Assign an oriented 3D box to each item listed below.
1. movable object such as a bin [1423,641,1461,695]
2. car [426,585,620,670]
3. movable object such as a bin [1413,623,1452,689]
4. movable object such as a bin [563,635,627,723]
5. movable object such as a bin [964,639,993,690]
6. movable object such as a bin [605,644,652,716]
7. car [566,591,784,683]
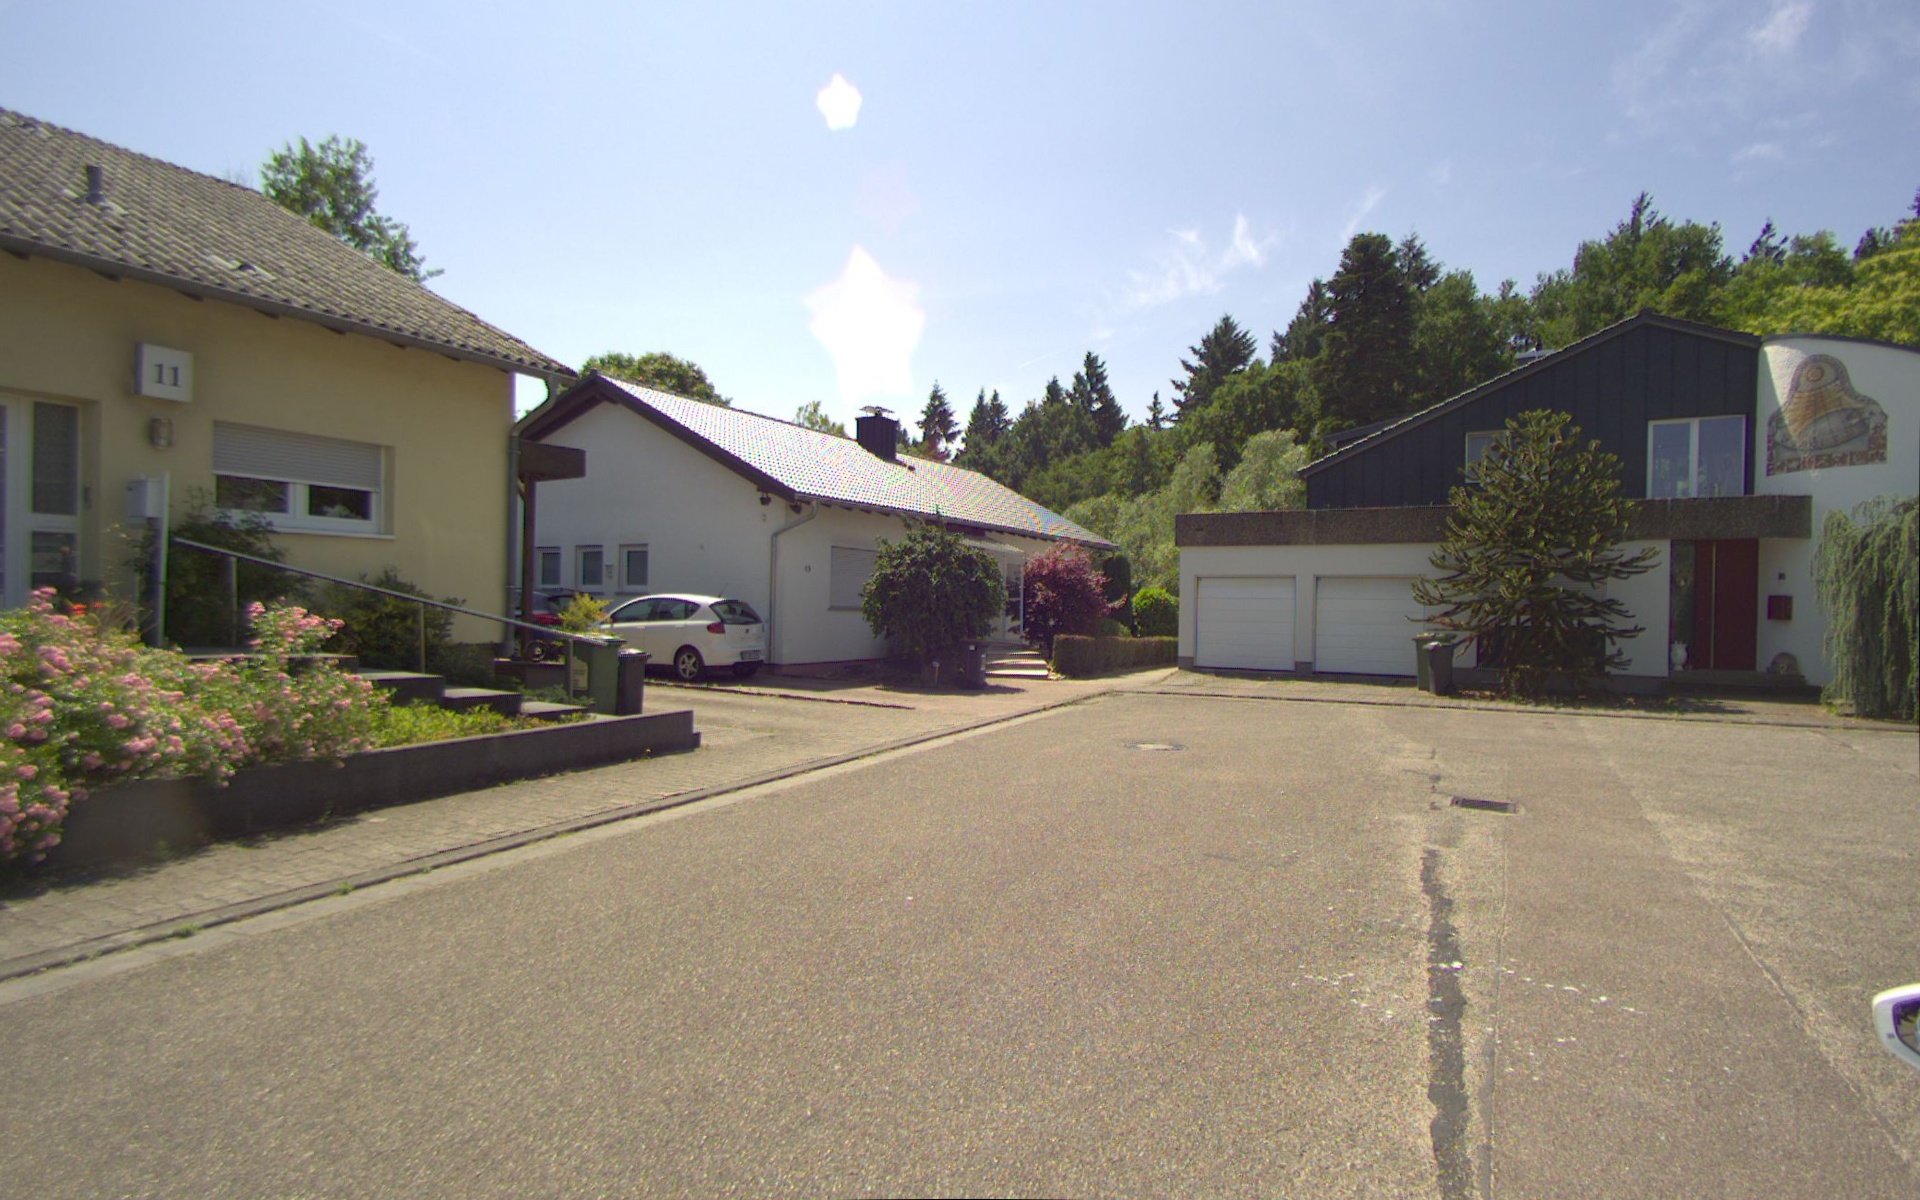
[{"bbox_3d":[8.841,1.236,18.444,0.513,0.962,0.389,1,0,4],"label":"movable object such as a bin"},{"bbox_3d":[-9.511,0.527,21.806,3.929,1.629,1.925,2,1,31],"label":"car"},{"bbox_3d":[9.029,1.058,19.192,0.622,1.219,0.550,1,0,30],"label":"movable object such as a bin"},{"bbox_3d":[-4.624,0.986,12.735,0.482,1.055,0.592,1,0,22],"label":"movable object such as a bin"},{"bbox_3d":[0.340,1.182,18.514,0.383,0.903,0.374,1,1,29],"label":"movable object such as a bin"},{"bbox_3d":[-4.368,1.043,13.228,0.418,0.903,0.407,1,0,22],"label":"movable object such as a bin"},{"bbox_3d":[-5.538,0.662,19.481,3.926,1.589,1.750,1,0,27],"label":"car"}]
